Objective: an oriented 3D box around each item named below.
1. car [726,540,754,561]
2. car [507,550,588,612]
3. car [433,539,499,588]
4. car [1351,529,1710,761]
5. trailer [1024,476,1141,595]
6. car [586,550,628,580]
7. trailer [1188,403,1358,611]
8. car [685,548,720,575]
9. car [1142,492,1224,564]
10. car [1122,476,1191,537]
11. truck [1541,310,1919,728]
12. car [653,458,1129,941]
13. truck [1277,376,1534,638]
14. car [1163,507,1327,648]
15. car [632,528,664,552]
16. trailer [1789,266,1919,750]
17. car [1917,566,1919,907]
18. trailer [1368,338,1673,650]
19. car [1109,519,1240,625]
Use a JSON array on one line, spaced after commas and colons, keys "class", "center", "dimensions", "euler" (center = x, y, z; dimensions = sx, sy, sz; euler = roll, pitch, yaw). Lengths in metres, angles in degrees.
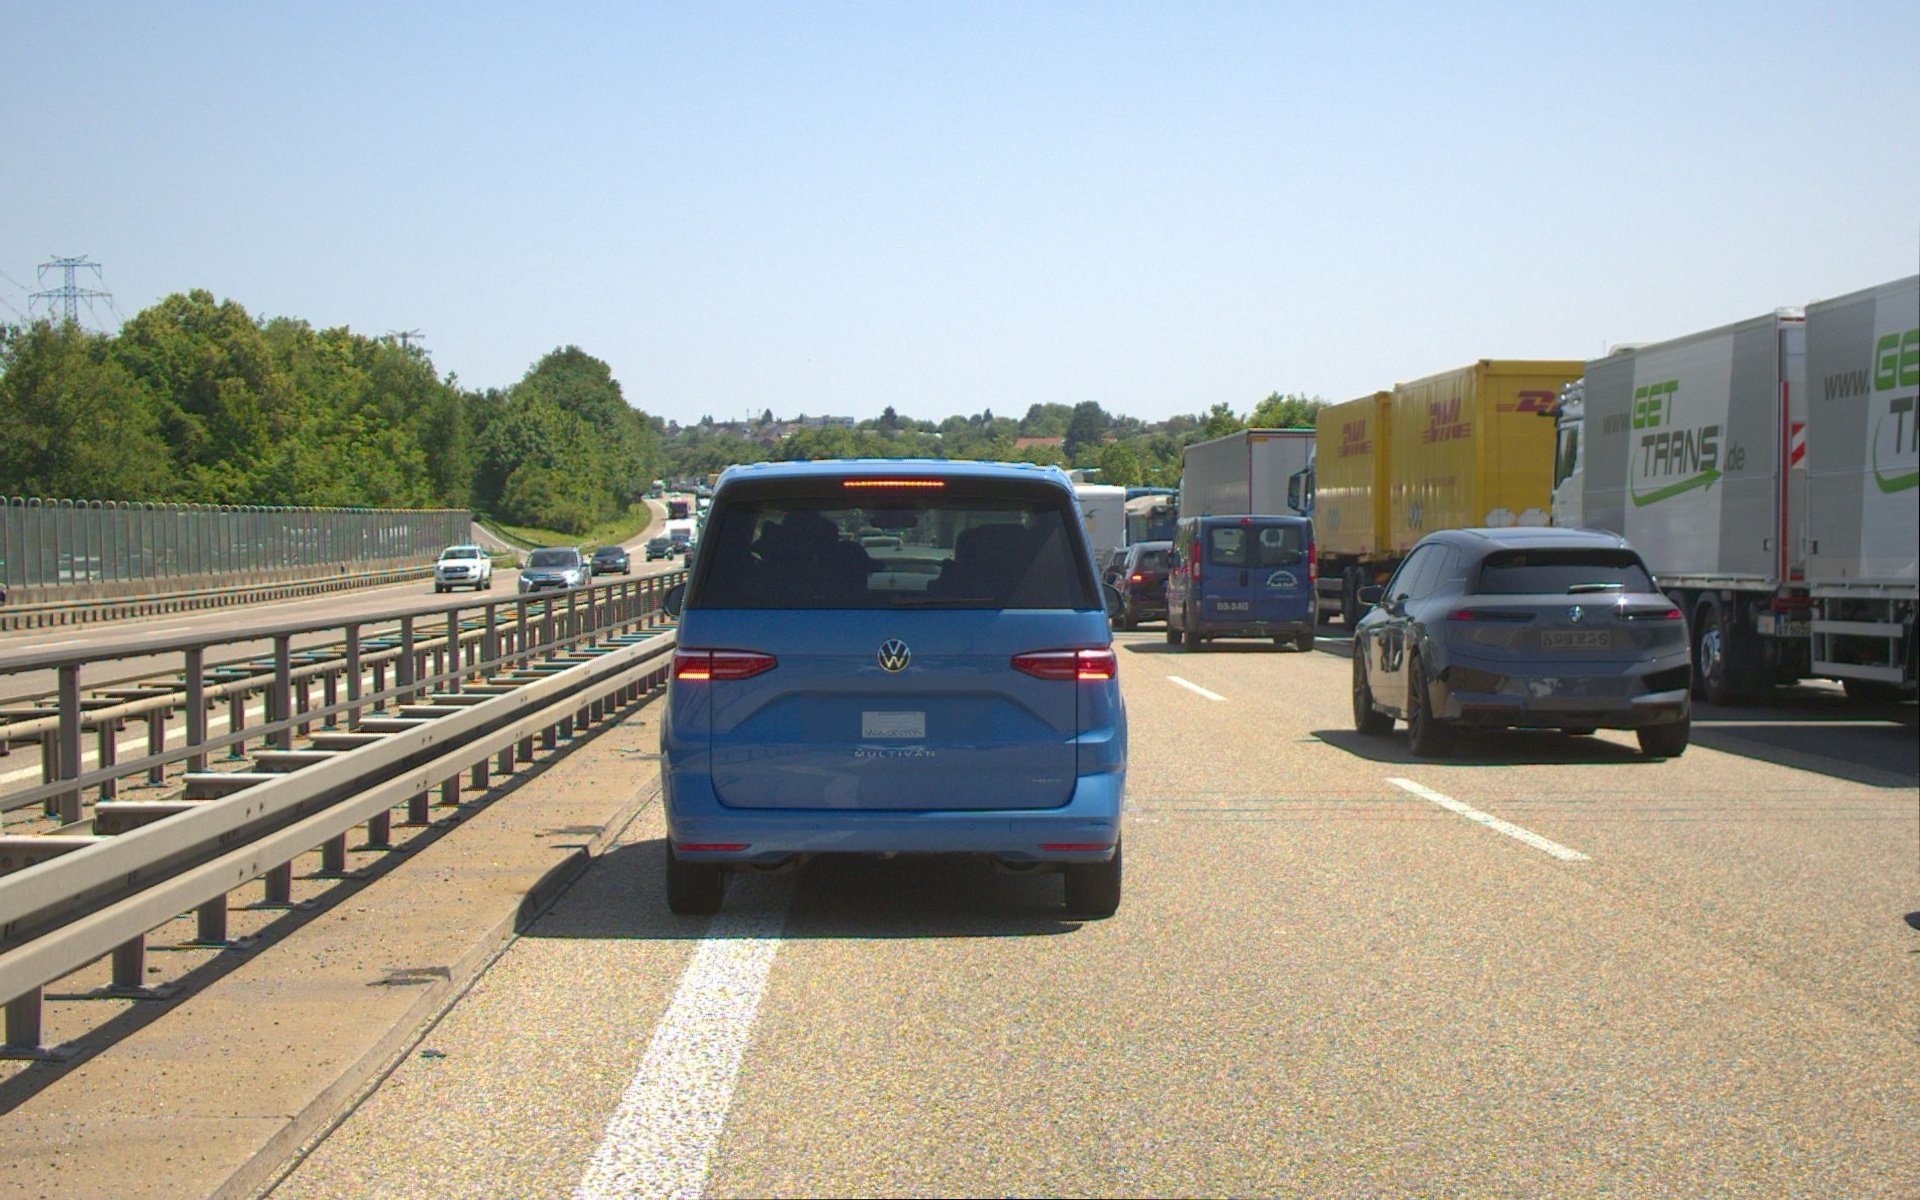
[{"class": "car", "center": [-15.628, -3.527, 244.677], "dimensions": [1.791, 1.473, 3.989], "euler": [-1, 1, -1]}, {"class": "car", "center": [-11.673, -0.558, 97.469], "dimensions": [1.805, 1.621, 4.478], "euler": [-2, 1, -1]}, {"class": "car", "center": [-19.819, -1.497, 138.169], "dimensions": [1.993, 1.878, 5.256], "euler": [2, 1, -2]}, {"class": "car", "center": [4.277, 0.284, 26.461], "dimensions": [1.962, 1.639, 4.293], "euler": [0, 1, -1]}, {"class": "trailer", "center": [3.189, -1.679, 92.246], "dimensions": [2.569, 2.980, 10.663], "euler": [1, 1, -1]}, {"class": "car", "center": [-17.078, -1.687, 166.422], "dimensions": [1.597, 1.345, 4.180], "euler": [-2, 1, -1]}, {"class": "trailer", "center": [7.175, -2.120, 80.402], "dimensions": [2.636, 4.501, 11.302], "euler": [1, 1, -1]}, {"class": "car", "center": [-13.486, -2.026, 180.386], "dimensions": [1.597, 1.313, 4.342], "euler": [-2, 1, -2]}, {"class": "car", "center": [6.362, -2.036, 98.346], "dimensions": [1.993, 2.007, 4.000], "euler": [1, 1, -1]}, {"class": "car", "center": [6.608, -3.145, 116.176], "dimensions": [1.993, 2.007, 4.461], "euler": [-1, 1, -1]}, {"class": "truck", "center": [8.403, -0.807, 35.456], "dimensions": [2.656, 3.635, 11.012], "euler": [0, 1, -2]}, {"class": "car", "center": [-0.304, 0.362, 15.391], "dimensions": [1.820, 1.851, 4.075], "euler": [1, 1, -1]}, {"class": "truck", "center": [7.785, -1.591, 61.659], "dimensions": [2.836, 4.228, 11.011], "euler": [1, 1, -2]}, {"class": "car", "center": [4.141, -0.358, 50.554], "dimensions": [1.962, 1.986, 4.293], "euler": [0, 1, -1]}, {"class": "car", "center": [-20.118, -3.864, 222.046], "dimensions": [1.729, 1.486, 4.420], "euler": [-2, 1, -2]}, {"class": "trailer", "center": [8.680, -0.699, 25.957], "dimensions": [2.698, 3.687, 8.015], "euler": [0, 1, -2]}, {"class": "car", "center": [5.019, 0.615, 12.514], "dimensions": [1.788, 1.450, 4.293], "euler": [0, 1, -1]}, {"class": "trailer", "center": [8.217, -1.499, 51.588], "dimensions": [2.864, 4.224, 9.012], "euler": [1, 1, -1]}, {"class": "car", "center": [3.753, -0.511, 60.795], "dimensions": [1.993, 1.809, 4.000], "euler": [0, 1, -1]}]
